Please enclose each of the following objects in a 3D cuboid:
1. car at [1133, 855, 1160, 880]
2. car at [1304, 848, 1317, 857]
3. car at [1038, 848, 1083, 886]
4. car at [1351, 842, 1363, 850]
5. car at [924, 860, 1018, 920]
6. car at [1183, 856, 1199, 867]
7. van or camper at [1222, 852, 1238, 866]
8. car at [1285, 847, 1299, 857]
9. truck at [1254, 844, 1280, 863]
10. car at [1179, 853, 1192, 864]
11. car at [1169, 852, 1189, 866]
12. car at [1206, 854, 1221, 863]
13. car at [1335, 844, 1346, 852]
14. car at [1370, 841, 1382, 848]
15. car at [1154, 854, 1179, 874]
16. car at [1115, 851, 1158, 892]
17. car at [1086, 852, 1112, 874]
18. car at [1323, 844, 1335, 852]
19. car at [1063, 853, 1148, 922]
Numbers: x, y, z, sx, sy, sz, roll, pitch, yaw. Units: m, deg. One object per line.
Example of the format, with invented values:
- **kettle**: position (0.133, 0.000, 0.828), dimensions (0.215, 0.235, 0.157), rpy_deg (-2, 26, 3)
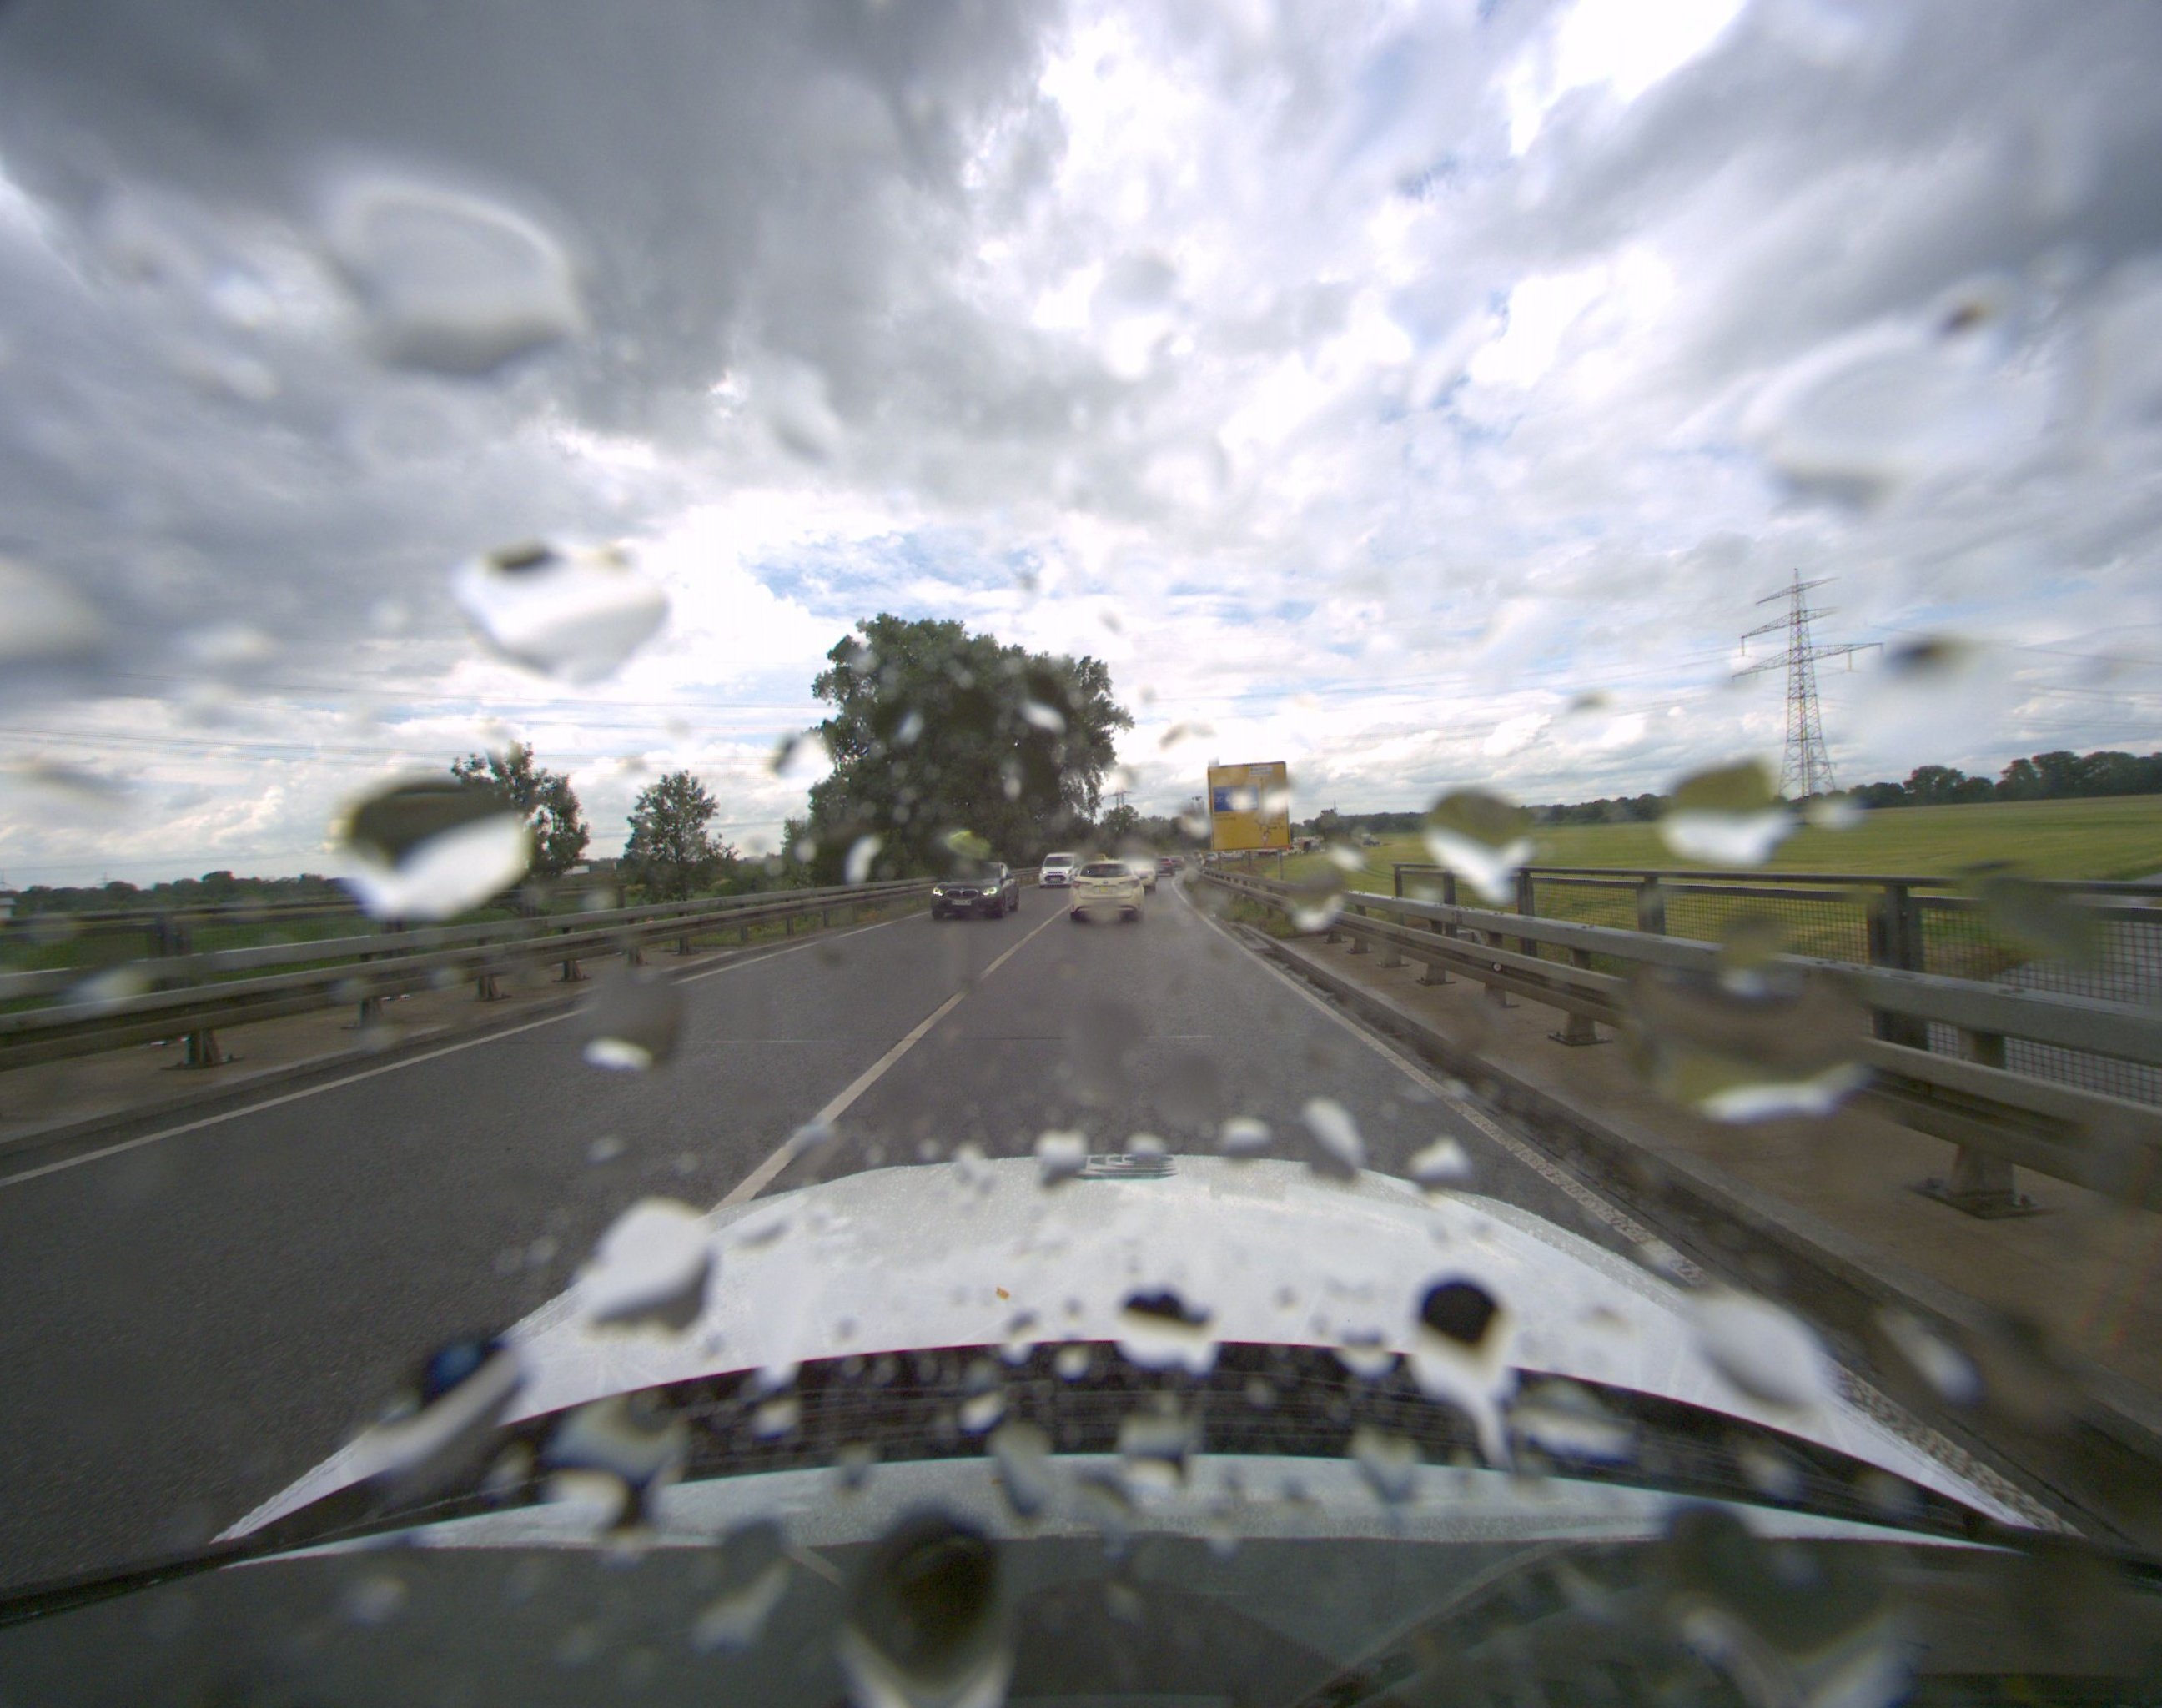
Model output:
- **car**: position (4.040, 0.817, 50.599), dimensions (1.500, 1.437, 3.357), rpy_deg (-1, 0, 2)
- **car**: position (53.870, -0.332, 190.996), dimensions (1.975, 2.014, 4.024), rpy_deg (-1, -1, 28)
- **car**: position (-1.019, 0.634, 42.672), dimensions (1.853, 1.891, 4.495), rpy_deg (-1, 0, 4)
- **car**: position (74.989, -2.259, 221.277), dimensions (1.974, 2.014, 4.025), rpy_deg (-1, -1, 36)
- **car**: position (-2.793, 0.877, 21.652), dimensions (1.689, 1.400, 4.334), rpy_deg (-1, -1, 3)
- **car**: position (13.688, 0.960, 101.224), dimensions (1.471, 1.309, 3.493), rpy_deg (-1, 0, 18)
- **van or camper**: position (24.504, 0.811, 134.035), dimensions (1.977, 2.254, 4.019), rpy_deg (-1, -1, 18)
- **car**: position (46.812, -0.442, 180.312), dimensions (2.146, 2.014, 4.024), rpy_deg (-1, -1, 27)
- **truck**: position (36.869, -0.063, 161.478), dimensions (3.110, 3.562, 7.567), rpy_deg (-1, -1, 28)
- **car**: position (17.120, 0.714, 133.635), dimensions (1.505, 1.721, 3.437), rpy_deg (-1, -1, 18)
- **car**: position (10.373, 0.521, 86.452), dimensions (1.649, 1.409, 3.918), rpy_deg (-1, -1, 13)
- **car**: position (19.403, 0.647, 119.297), dimensions (1.470, 1.309, 3.494), rpy_deg (-1, 0, 20)
- **car**: position (67.293, -1.435, 211.269), dimensions (1.975, 2.014, 4.024), rpy_deg (-1, -1, 27)
- **car**: position (86.915, -2.710, 239.638), dimensions (1.746, 2.013, 4.024), rpy_deg (-1, 1, 45)
- **car**: position (6.627, 0.739, 62.976), dimensions (1.655, 1.464, 3.486), rpy_deg (-1, 0, 9)
- **car**: position (2.347, 0.694, 33.524), dimensions (1.570, 1.572, 3.688), rpy_deg (-1, 0, 6)
- **car**: position (1.339, 0.663, 60.480), dimensions (1.602, 1.486, 4.007), rpy_deg (-2, 1, 5)
- **car**: position (62.154, -1.432, 203.729), dimensions (2.205, 2.014, 4.024), rpy_deg (-1, -1, 27)
- **car**: position (0.689, 0.771, 20.625), dimensions (1.898, 1.537, 4.165), rpy_deg (-1, 0, 3)
